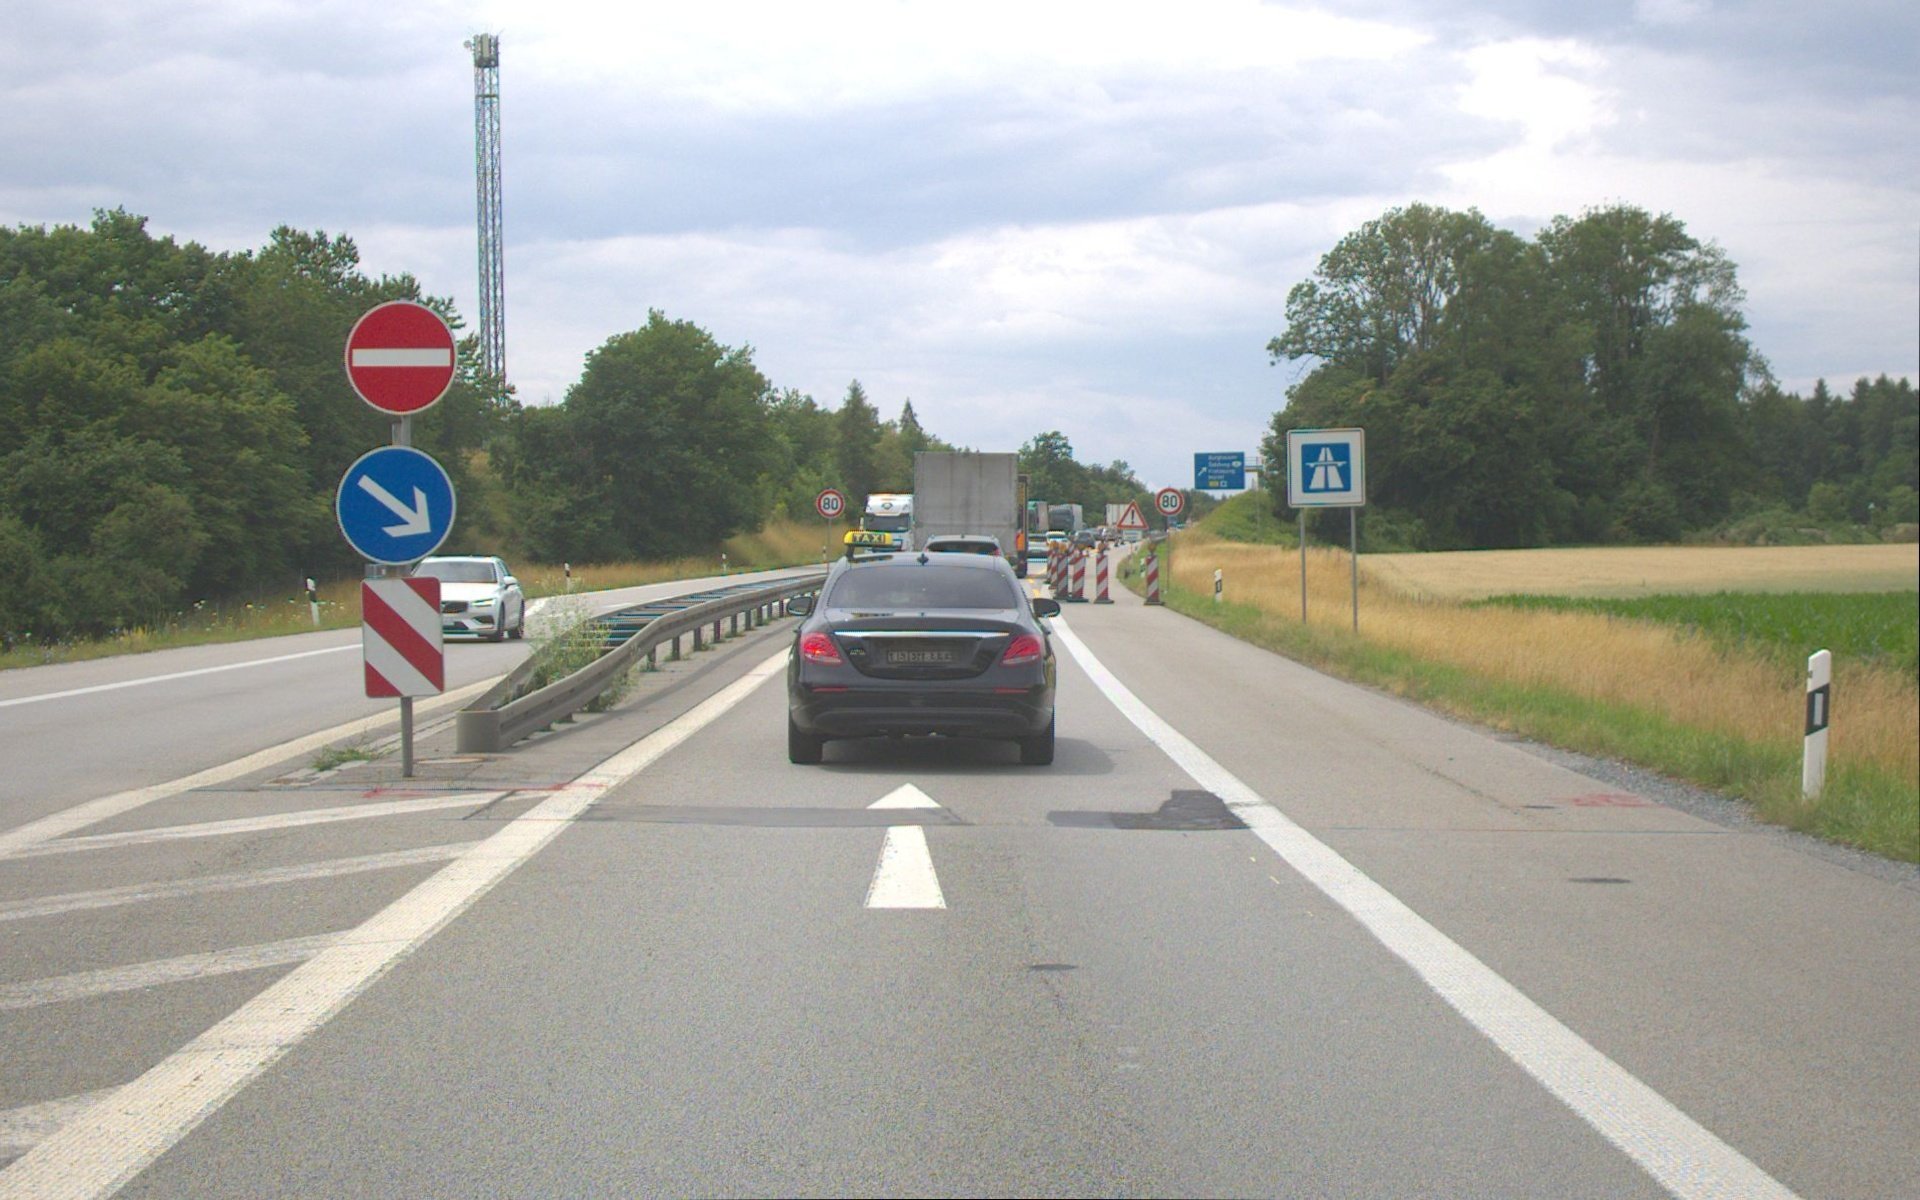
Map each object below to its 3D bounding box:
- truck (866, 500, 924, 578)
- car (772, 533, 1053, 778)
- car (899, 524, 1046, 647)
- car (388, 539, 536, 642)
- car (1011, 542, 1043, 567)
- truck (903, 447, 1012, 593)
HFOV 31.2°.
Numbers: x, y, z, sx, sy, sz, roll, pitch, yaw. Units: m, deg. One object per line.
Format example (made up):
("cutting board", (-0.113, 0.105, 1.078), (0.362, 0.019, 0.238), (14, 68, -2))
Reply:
("truck", (-3.575, -3.329, 189.995), (2.799, 4.128, 7.228), (1, 0, 1))
("car", (-0.316, 0.355, 24.466), (1.795, 1.554, 4.000), (1, 0, 0))
("car", (0.178, -0.249, 59.461), (1.993, 2.007, 4.001), (1, 0, -7))
("car", (-8.373, -0.165, 58.120), (1.817, 1.627, 4.602), (1, 0, 0))
("car", (3.906, -2.659, 201.260), (1.649, 1.391, 3.706), (1, 0, -2))
("truck", (-0.048, -1.975, 86.967), (2.587, 3.512, 4.812), (1, 0, 1))
